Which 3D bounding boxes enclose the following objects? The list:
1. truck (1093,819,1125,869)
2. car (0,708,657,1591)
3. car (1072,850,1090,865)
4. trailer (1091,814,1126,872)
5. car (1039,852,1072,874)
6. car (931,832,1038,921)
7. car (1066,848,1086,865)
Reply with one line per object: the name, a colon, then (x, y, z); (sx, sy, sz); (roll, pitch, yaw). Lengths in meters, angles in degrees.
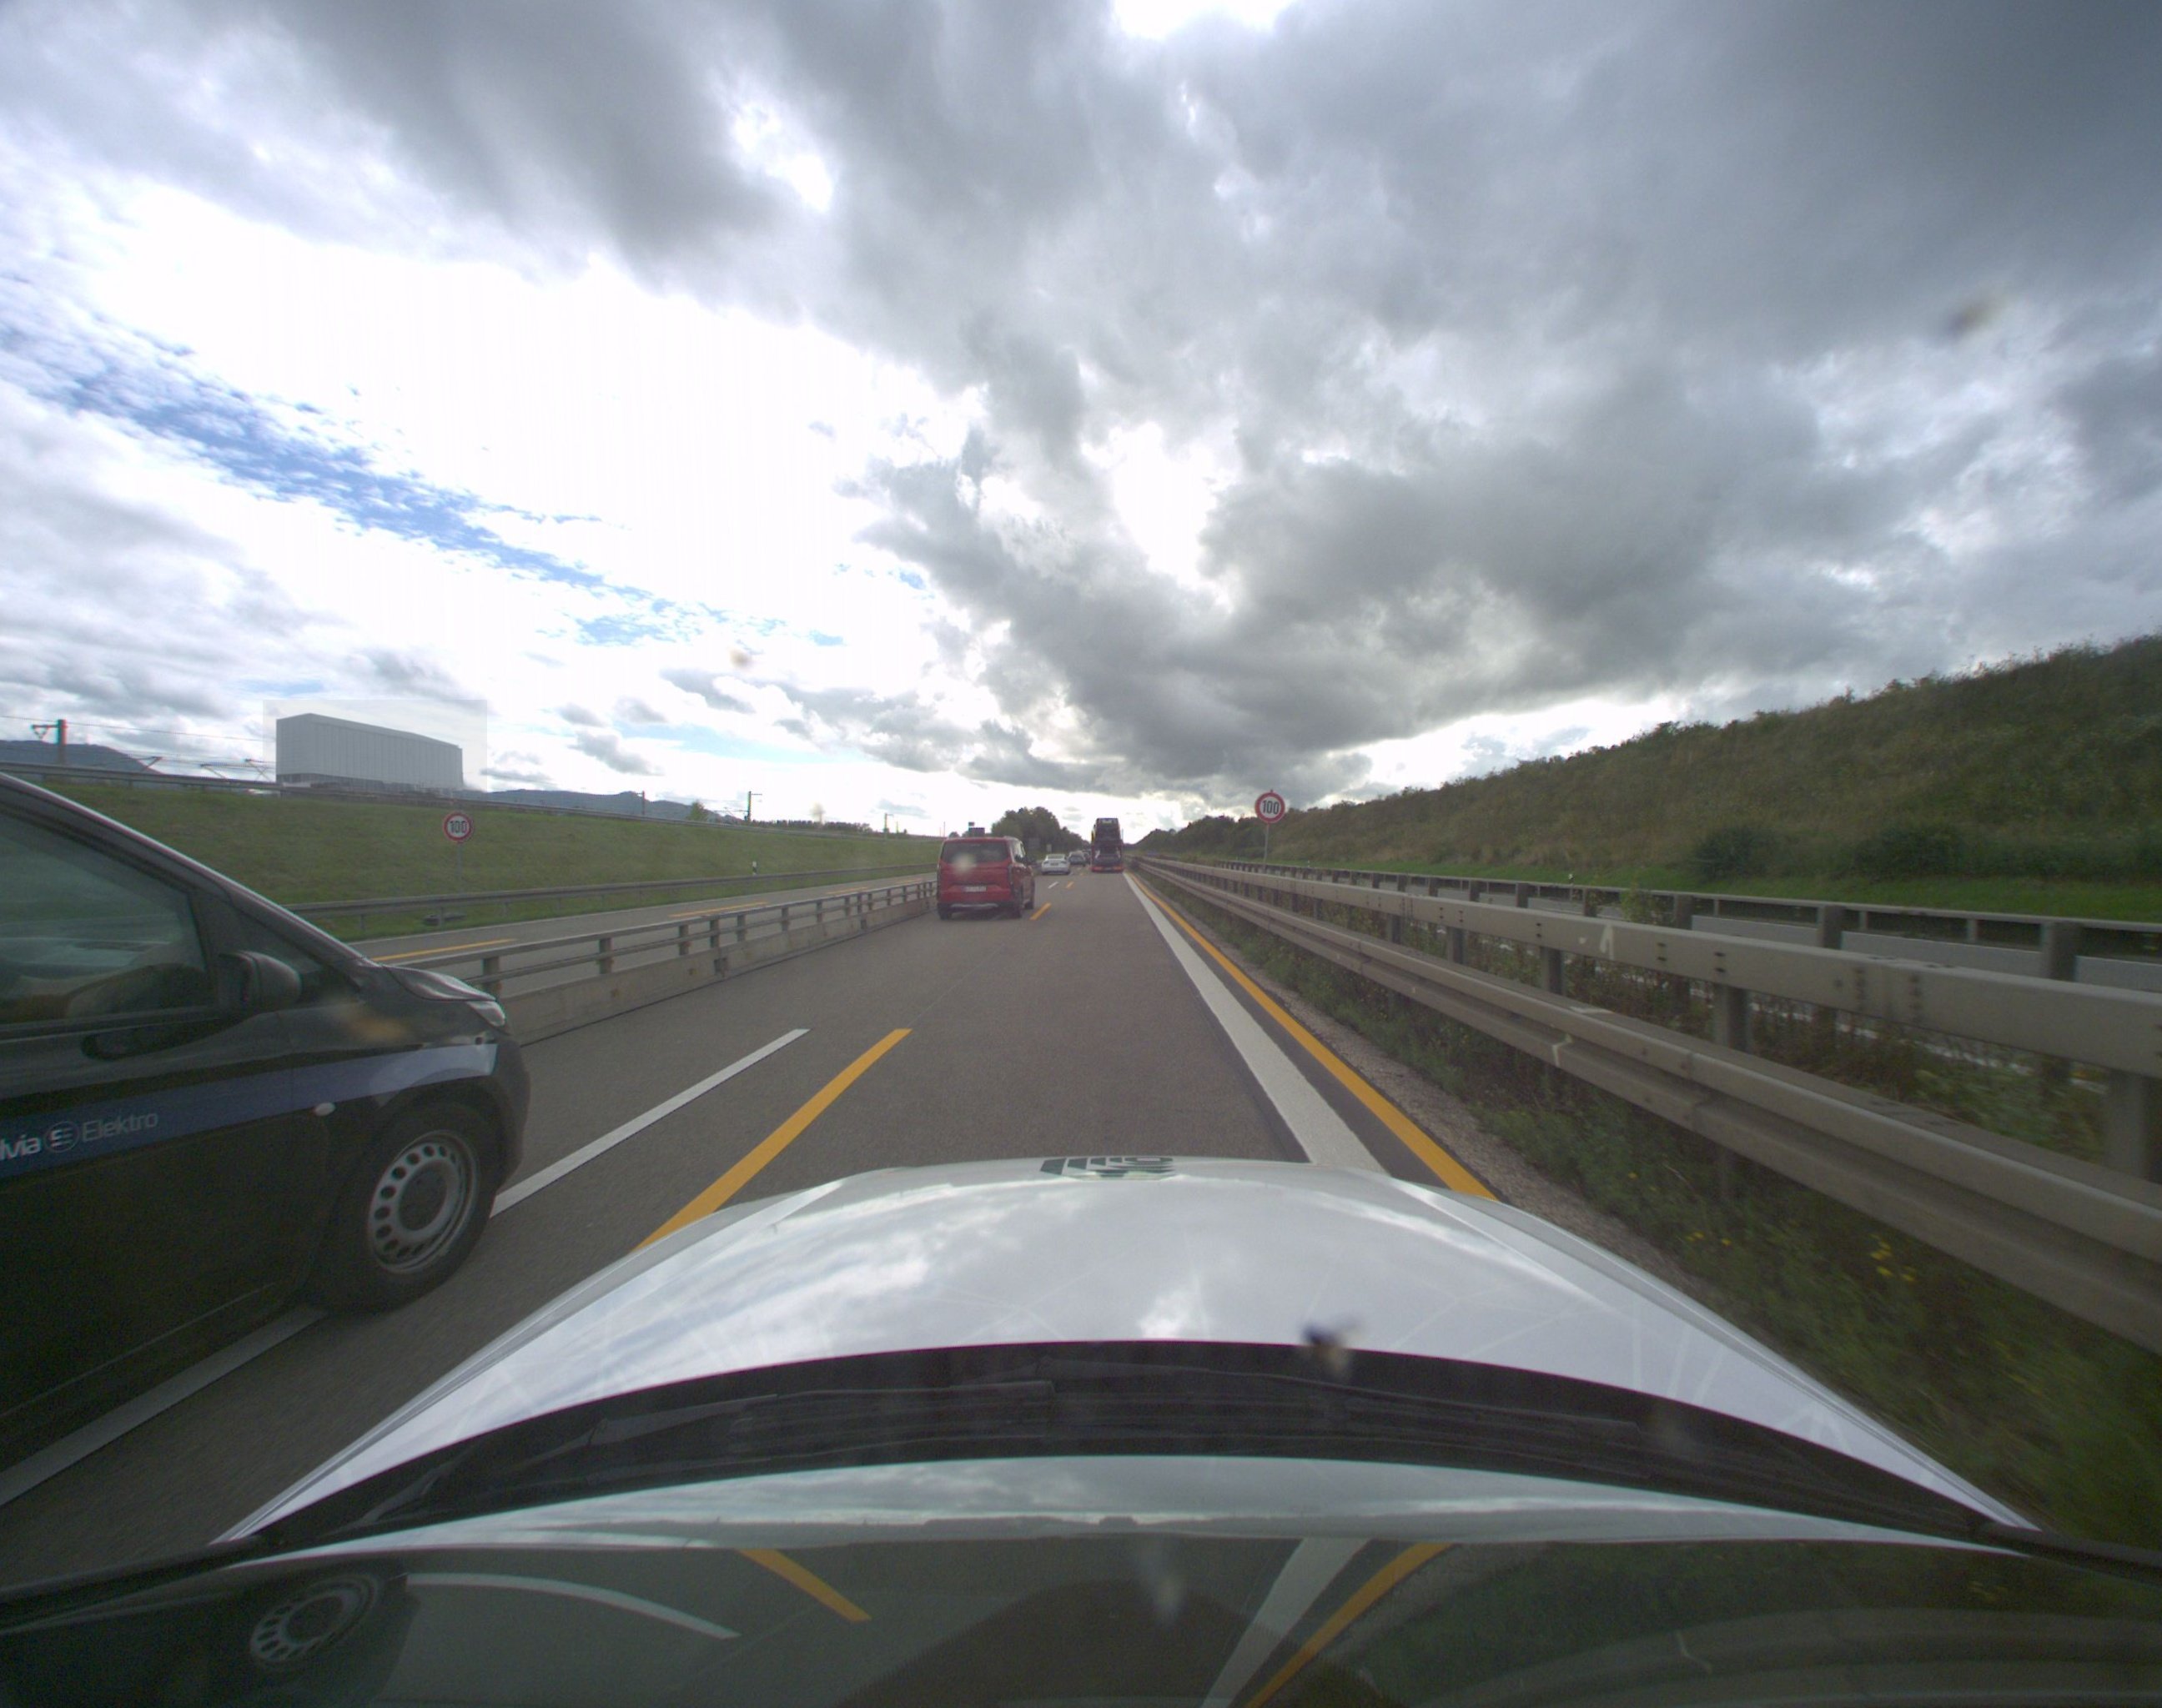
truck: (2.407, -0.816, 68.983); (2.505, 4.105, 5.688); (-1, 0, 2)
car: (-3.274, 0.638, 1.376); (1.986, 1.843, 5.612); (-1, 0, 2)
car: (0.038, 0.431, 99.295); (2.024, 1.757, 4.578); (-1, 0, 1)
trailer: (2.204, -0.810, 64.028); (2.505, 4.105, 11.120); (-1, 0, 2)
car: (-1.741, 0.608, 56.976); (2.024, 1.430, 4.579); (-1, 0, 1)
car: (-2.326, 0.509, 20.939); (2.023, 2.013, 4.580); (-1, 0, 2)
car: (-0.489, 0.265, 86.293); (2.024, 1.757, 4.579); (-1, 0, 1)
